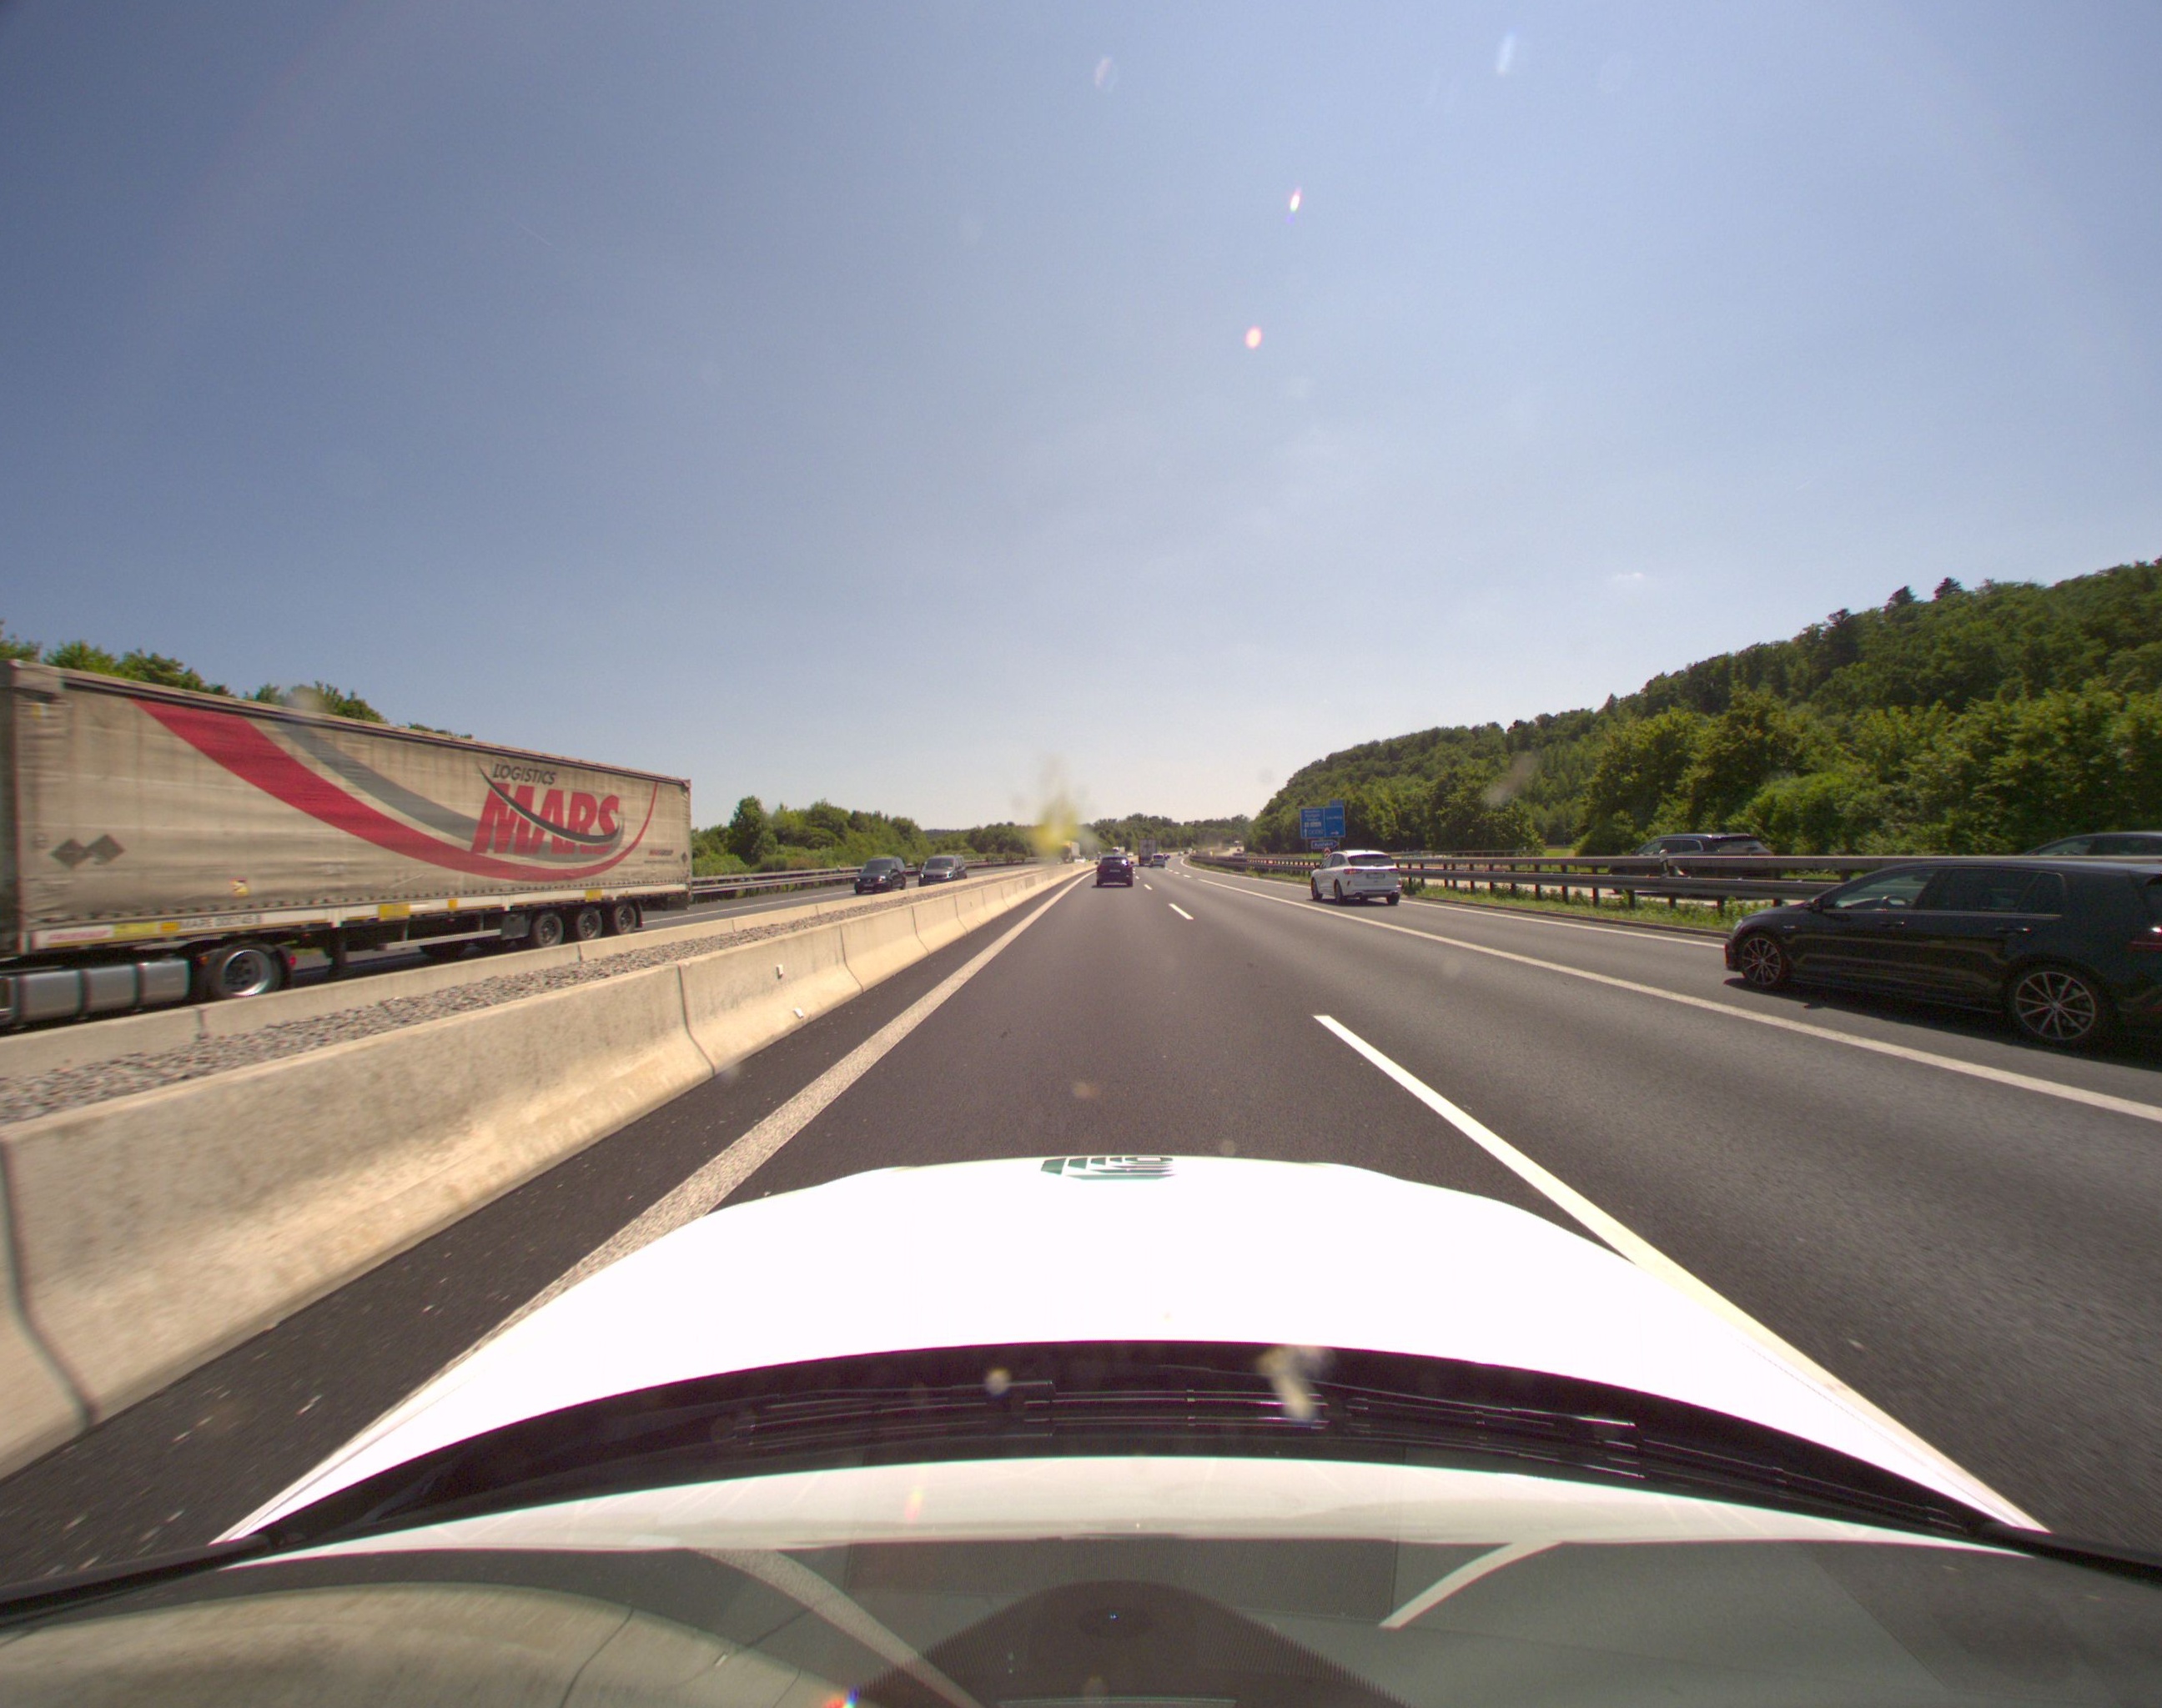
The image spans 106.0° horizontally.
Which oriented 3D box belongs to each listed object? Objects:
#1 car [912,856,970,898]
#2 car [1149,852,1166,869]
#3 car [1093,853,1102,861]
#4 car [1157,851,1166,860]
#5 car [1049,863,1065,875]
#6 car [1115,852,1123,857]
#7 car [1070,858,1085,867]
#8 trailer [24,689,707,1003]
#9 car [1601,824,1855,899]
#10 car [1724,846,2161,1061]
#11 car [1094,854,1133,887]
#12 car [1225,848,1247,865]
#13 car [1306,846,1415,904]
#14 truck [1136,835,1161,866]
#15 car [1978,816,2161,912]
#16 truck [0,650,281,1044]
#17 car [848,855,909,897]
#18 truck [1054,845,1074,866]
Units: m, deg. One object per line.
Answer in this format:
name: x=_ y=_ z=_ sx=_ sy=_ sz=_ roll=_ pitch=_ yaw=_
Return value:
car: x=-7.060 y=1.115 z=41.520 sx=2.044 sy=2.014 sz=4.954 roll=-1 pitch=-1 yaw=0
car: x=9.922 y=0.785 z=105.874 sx=1.983 sy=2.013 sz=4.007 roll=-4 pitch=0 yaw=6
car: x=4.153 y=0.825 z=206.730 sx=1.985 sy=2.081 sz=4.709 roll=-1 pitch=0 yaw=4
car: x=18.446 y=0.395 z=185.531 sx=1.983 sy=2.014 sz=4.007 roll=-1 pitch=-1 yaw=6
car: x=-3.180 y=1.959 z=108.469 sx=1.720 sy=1.536 sz=4.619 roll=-1 pitch=-1 yaw=5
car: x=11.757 y=0.185 z=252.015 sx=1.857 sy=1.666 sz=4.677 roll=-1 pitch=-1 yaw=10
car: x=-0.553 y=1.442 z=138.233 sx=1.984 sy=1.374 sz=4.668 roll=-1 pitch=0 yaw=5
trailer: x=-12.061 y=-0.046 z=16.601 sx=2.898 sy=4.045 sz=12.069 roll=-1 pitch=-1 yaw=2
car: x=16.248 y=0.194 z=20.995 sx=1.988 sy=1.662 sz=5.623 roll=-1 pitch=-1 yaw=-1
car: x=8.154 y=0.672 z=7.257 sx=1.787 sy=1.435 sz=3.968 roll=-1 pitch=-1 yaw=2
car: x=1.608 y=0.798 z=41.231 sx=1.774 sy=1.577 sz=3.998 roll=-1 pitch=-1 yaw=-1
car: x=19.605 y=0.305 z=103.146 sx=1.987 sy=2.013 sz=3.999 roll=-3 pitch=0 yaw=0
car: x=8.710 y=0.642 z=25.851 sx=1.987 sy=1.662 sz=4.468 roll=-1 pitch=-1 yaw=1
truck: x=10.135 y=-0.426 z=120.854 sx=3.015 sy=4.418 sz=12.043 roll=-1 pitch=-1 yaw=8
car: x=19.686 y=0.164 z=14.362 sx=1.987 sy=1.662 sz=5.227 roll=-1 pitch=-1 yaw=0
truck: x=-12.361 y=-0.065 z=8.059 sx=2.917 sy=3.973 sz=5.900 roll=-1 pitch=-1 yaw=2
car: x=-10.393 y=1.110 z=42.118 sx=1.987 sy=2.014 sz=4.484 roll=-1 pitch=-1 yaw=0
truck: x=-3.106 y=0.295 z=148.333 sx=2.734 sy=3.754 sz=4.877 roll=-1 pitch=-1 yaw=8
